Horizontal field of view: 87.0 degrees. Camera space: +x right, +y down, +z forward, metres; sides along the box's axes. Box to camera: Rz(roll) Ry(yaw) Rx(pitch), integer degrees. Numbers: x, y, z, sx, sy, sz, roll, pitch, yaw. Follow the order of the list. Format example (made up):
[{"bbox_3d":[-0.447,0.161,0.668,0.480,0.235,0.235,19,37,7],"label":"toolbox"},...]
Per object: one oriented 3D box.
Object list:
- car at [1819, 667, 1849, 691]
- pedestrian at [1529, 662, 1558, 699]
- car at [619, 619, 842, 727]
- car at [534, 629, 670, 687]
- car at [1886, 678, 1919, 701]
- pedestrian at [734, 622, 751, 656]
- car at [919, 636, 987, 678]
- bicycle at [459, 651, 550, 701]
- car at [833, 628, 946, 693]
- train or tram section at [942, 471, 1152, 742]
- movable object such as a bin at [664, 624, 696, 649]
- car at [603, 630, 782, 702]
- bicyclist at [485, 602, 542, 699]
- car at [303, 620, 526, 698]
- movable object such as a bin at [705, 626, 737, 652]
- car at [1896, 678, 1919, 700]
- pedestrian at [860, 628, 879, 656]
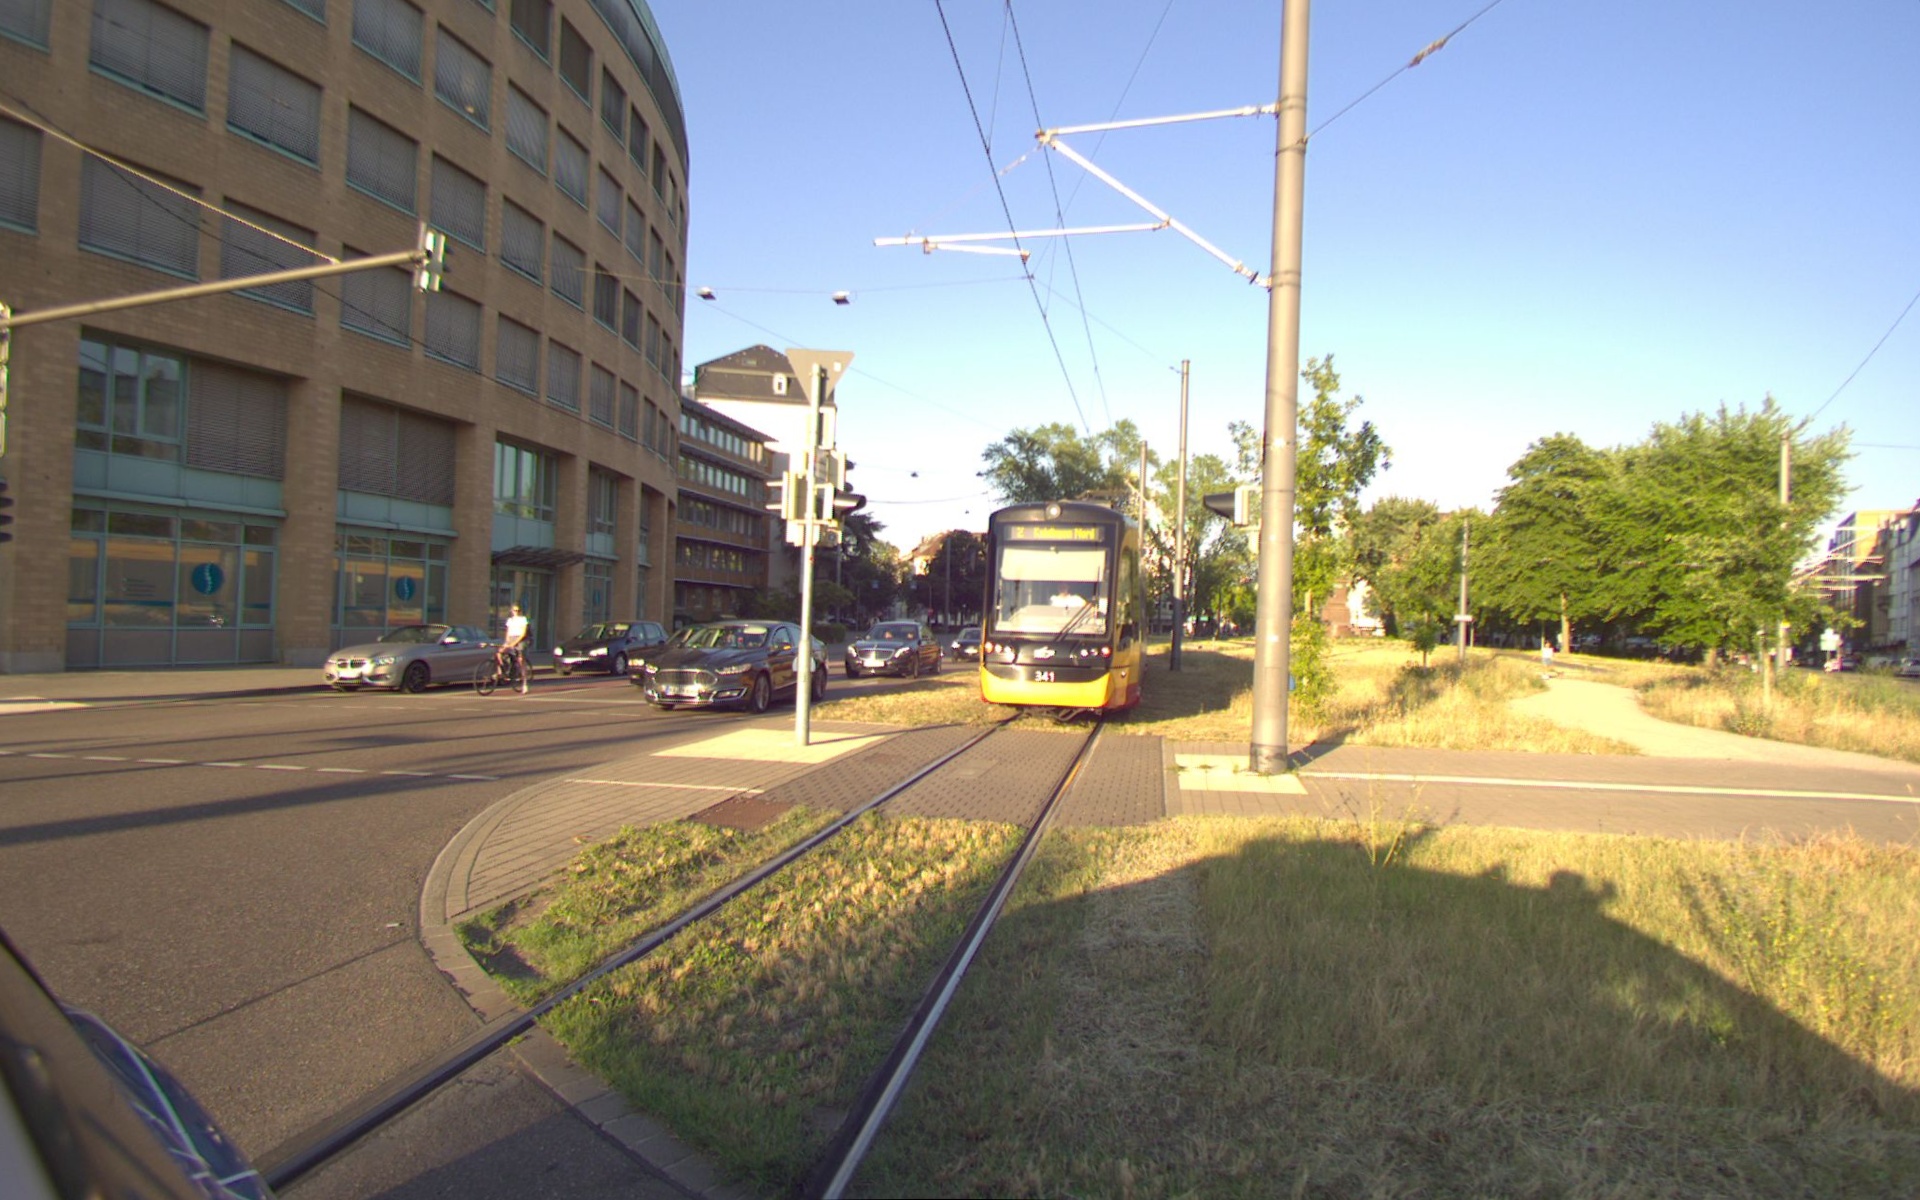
[{"bbox_3d":[82.747,7.479,95.827,2.000,2.029,3.944,-2,-2,42],"label":"car"},{"bbox_3d":[24.754,3.401,42.943,0.686,1.507,0.916,2,-2,-2],"label":"pedestrian"},{"bbox_3d":[-3.651,1.162,17.111,1.872,1.497,4.707,2,-2,12],"label":"car"},{"bbox_3d":[-9.584,1.524,27.443,1.741,1.397,3.987,1,-2,10],"label":"car"},{"bbox_3d":[90.367,8.532,97.022,1.997,2.029,3.949,0,-3,37],"label":"car"},{"bbox_3d":[-10.806,1.942,50.259,0.621,1.694,0.712,1,-2,8],"label":"pedestrian"},{"bbox_3d":[-0.212,2.135,38.814,1.977,1.472,4.132,1,-2,8],"label":"car"},{"bbox_3d":[-8.764,1.445,19.560,0.628,0.880,1.864,1,-2,10],"label":"bicycle"},{"bbox_3d":[-1.799,1.596,27.589,1.879,1.547,4.687,1,-2,12],"label":"car"},{"bbox_3d":[2.377,0.307,20.777,2.887,3.767,13.173,1,-2,10],"label":"train or tram section"},{"bbox_3d":[-16.934,2.220,61.321,1.411,1.470,1.329,1,-2,9],"label":"movable object such as a bin"},{"bbox_3d":[-5.774,1.408,22.569,1.979,1.396,4.722,0,-2,11],"label":"car"},{"bbox_3d":[-8.712,0.986,19.780,0.628,1.834,0.775,1,-2,10],"label":"bicyclist"},{"bbox_3d":[-11.117,1.190,21.013,1.731,1.396,4.211,1,-2,12],"label":"car"},{"bbox_3d":[-14.201,2.326,60.177,1.411,1.470,1.330,2,-2,8],"label":"movable object such as a bin"},{"bbox_3d":[87.029,8.150,92.356,1.997,1.892,3.854,0,-3,37],"label":"car"},{"bbox_3d":[-6.320,2.907,70.436,0.904,1.909,1.120,1,-2,17],"label":"pedestrian"}]
